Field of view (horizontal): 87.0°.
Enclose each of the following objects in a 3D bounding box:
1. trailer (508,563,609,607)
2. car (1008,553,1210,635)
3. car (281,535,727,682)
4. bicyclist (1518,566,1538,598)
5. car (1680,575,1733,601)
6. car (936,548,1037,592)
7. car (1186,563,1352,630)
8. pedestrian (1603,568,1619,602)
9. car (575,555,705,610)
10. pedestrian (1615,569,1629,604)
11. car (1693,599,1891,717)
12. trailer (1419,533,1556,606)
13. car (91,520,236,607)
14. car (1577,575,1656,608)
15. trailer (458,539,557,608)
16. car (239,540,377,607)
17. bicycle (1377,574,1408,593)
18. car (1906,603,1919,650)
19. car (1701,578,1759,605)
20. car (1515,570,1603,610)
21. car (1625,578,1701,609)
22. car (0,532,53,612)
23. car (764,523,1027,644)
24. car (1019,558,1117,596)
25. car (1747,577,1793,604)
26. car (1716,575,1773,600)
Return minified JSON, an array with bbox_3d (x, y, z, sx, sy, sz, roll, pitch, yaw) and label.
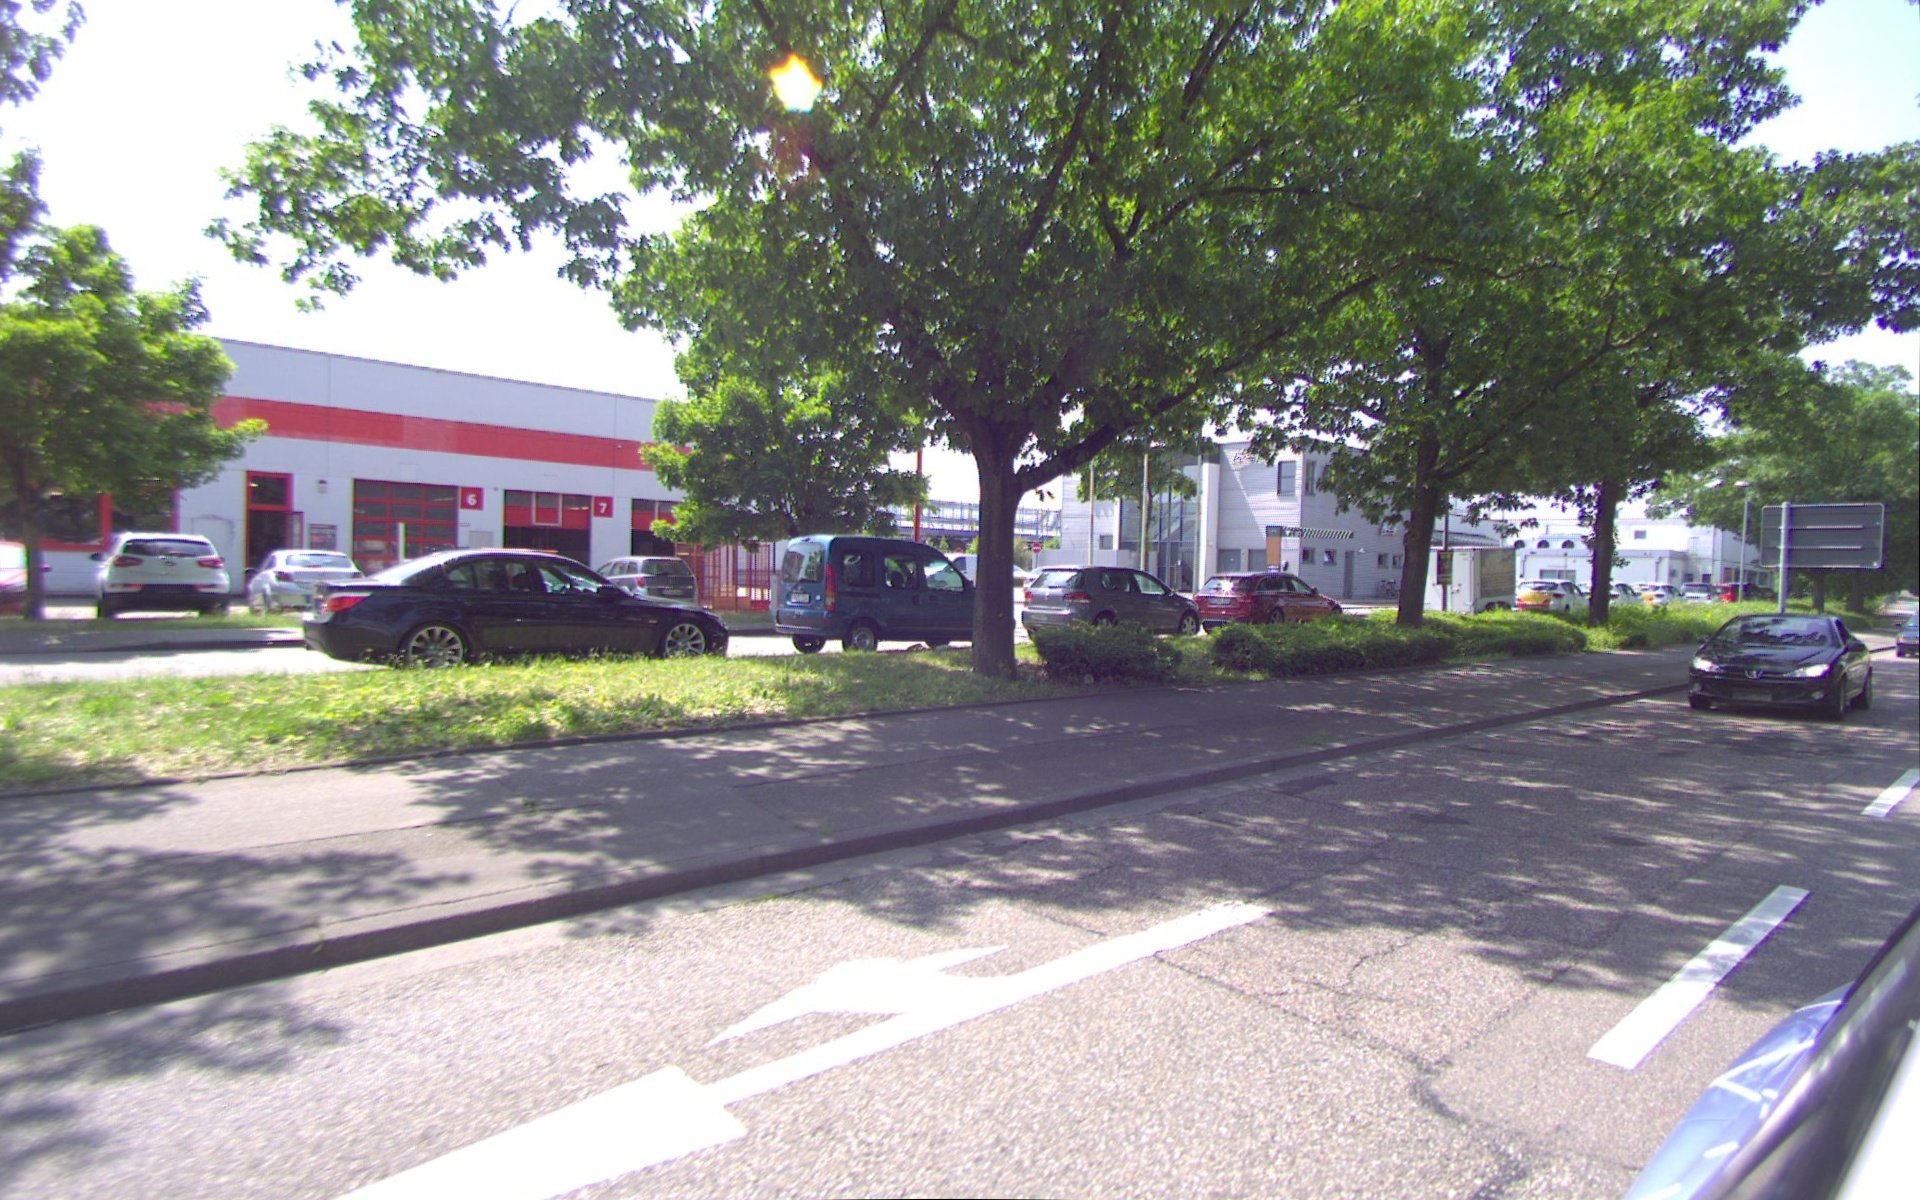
[{"bbox_3d":[-9.191,-0.344,23.093,1.356,0.922,2.718,0,1,-40],"label":"trailer"},{"bbox_3d":[2.891,-0.129,19.209,3.838,1.397,1.703,0,2,-42],"label":"car"},{"bbox_3d":[-5.256,0.024,12.001,4.568,1.442,1.705,-1,2,-38],"label":"car"},{"bbox_3d":[34.140,-1.083,60.823,0.849,1.826,0.779,0,2,-43],"label":"bicyclist"},{"bbox_3d":[34.871,-0.578,47.269,2.808,1.136,1.509,-1,2,-43],"label":"car"},{"bbox_3d":[1.217,-1.300,45.052,4.551,1.827,1.713,0,3,-41],"label":"car"},{"bbox_3d":[7.215,-0.095,23.398,4.249,1.397,1.703,0,2,-42],"label":"car"},{"bbox_3d":[37.734,-0.879,58.637,0.402,1.945,0.582,1,2,-41],"label":"pedestrian"},{"bbox_3d":[-7.953,-0.459,24.963,1.727,1.197,3.811,0,3,-40],"label":"car"},{"bbox_3d":[38.041,-0.782,58.178,0.525,1.945,0.467,1,2,-41],"label":"pedestrian"},{"bbox_3d":[11.778,0.716,14.268,3.440,1.373,1.640,-1,2,-42],"label":"car"},{"bbox_3d":[16.318,-0.880,31.178,5.384,2.081,1.705,0,2,-39],"label":"trailer"},{"bbox_3d":[-15.081,-0.717,19.088,1.909,1.459,3.994,0,3,-42],"label":"car"},{"bbox_3d":[24.995,-0.361,38.515,3.673,1.172,1.596,-1,2,-41],"label":"car"},{"bbox_3d":[-11.451,-0.696,25.498,1.387,1.601,3.615,0,3,-39],"label":"trailer"},{"bbox_3d":[-13.406,-0.557,20.707,1.875,1.236,3.995,-1,2,-40],"label":"car"},{"bbox_3d":[22.942,-0.865,53.626,2.064,0.992,0.590,0,3,-40],"label":"bicycle"},{"bbox_3d":[29.327,0.838,29.996,1.706,1.340,3.895,3,0,41],"label":"car"},{"bbox_3d":[38.086,-0.428,50.013,3.699,1.268,1.621,-1,2,-42],"label":"car"},{"bbox_3d":[20.386,-0.357,34.412,3.569,1.268,1.621,-1,2,-43],"label":"car"},{"bbox_3d":[30.504,-0.312,43.879,3.796,1.268,1.623,-1,2,-38],"label":"car"},{"bbox_3d":[-17.296,-0.454,17.806,1.786,1.324,3.572,0,0,-39],"label":"car"},{"bbox_3d":[-0.933,-0.283,15.777,3.836,1.657,1.705,-1,2,-40],"label":"car"},{"bbox_3d":[4.136,-0.869,38.417,3.710,1.356,1.586,0,3,-41],"label":"car"},{"bbox_3d":[46.576,-0.599,58.253,1.901,1.469,5.526,2,2,37],"label":"car"},{"bbox_3d":[41.608,-0.676,53.658,4.126,1.268,1.622,-1,1,-41],"label":"car"}]
